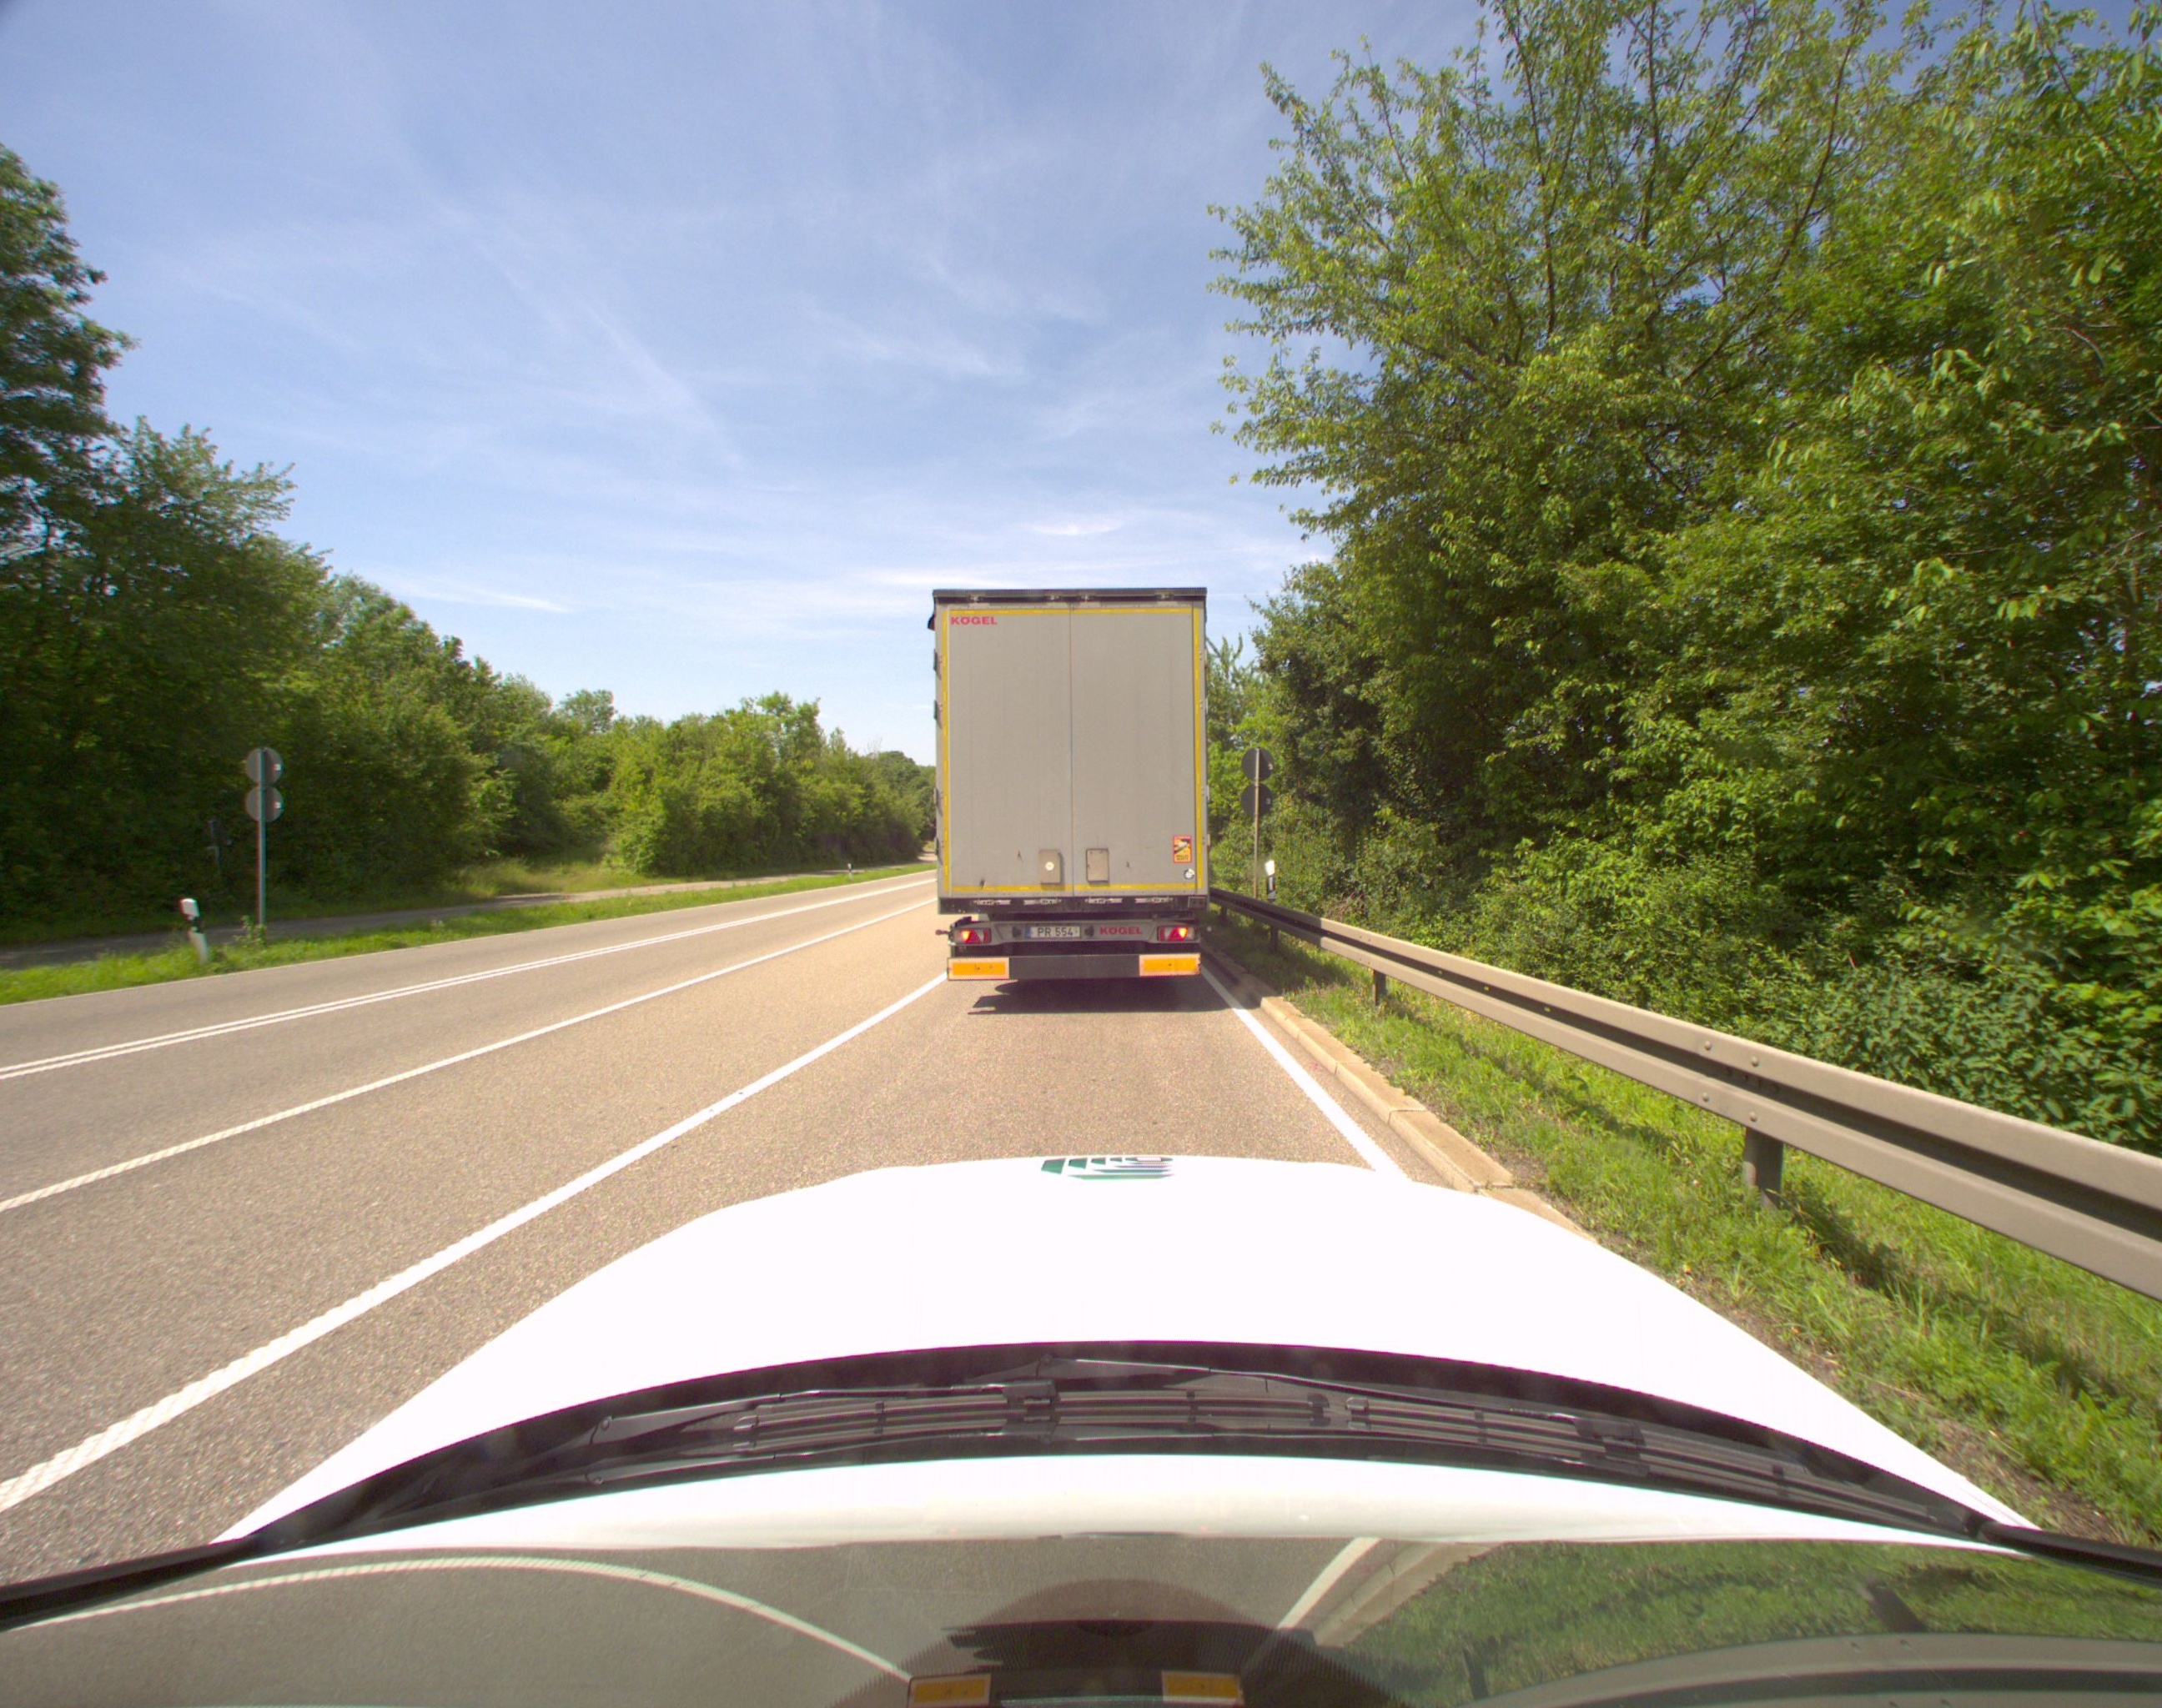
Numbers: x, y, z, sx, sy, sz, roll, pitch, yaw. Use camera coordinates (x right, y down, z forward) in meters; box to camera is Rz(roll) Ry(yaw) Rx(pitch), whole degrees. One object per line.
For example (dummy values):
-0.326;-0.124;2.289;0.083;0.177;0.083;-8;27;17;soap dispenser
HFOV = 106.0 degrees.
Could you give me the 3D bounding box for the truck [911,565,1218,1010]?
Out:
-0.033;-0.631;13.401;2.747;4.029;11.926;-1;0;1;truck
